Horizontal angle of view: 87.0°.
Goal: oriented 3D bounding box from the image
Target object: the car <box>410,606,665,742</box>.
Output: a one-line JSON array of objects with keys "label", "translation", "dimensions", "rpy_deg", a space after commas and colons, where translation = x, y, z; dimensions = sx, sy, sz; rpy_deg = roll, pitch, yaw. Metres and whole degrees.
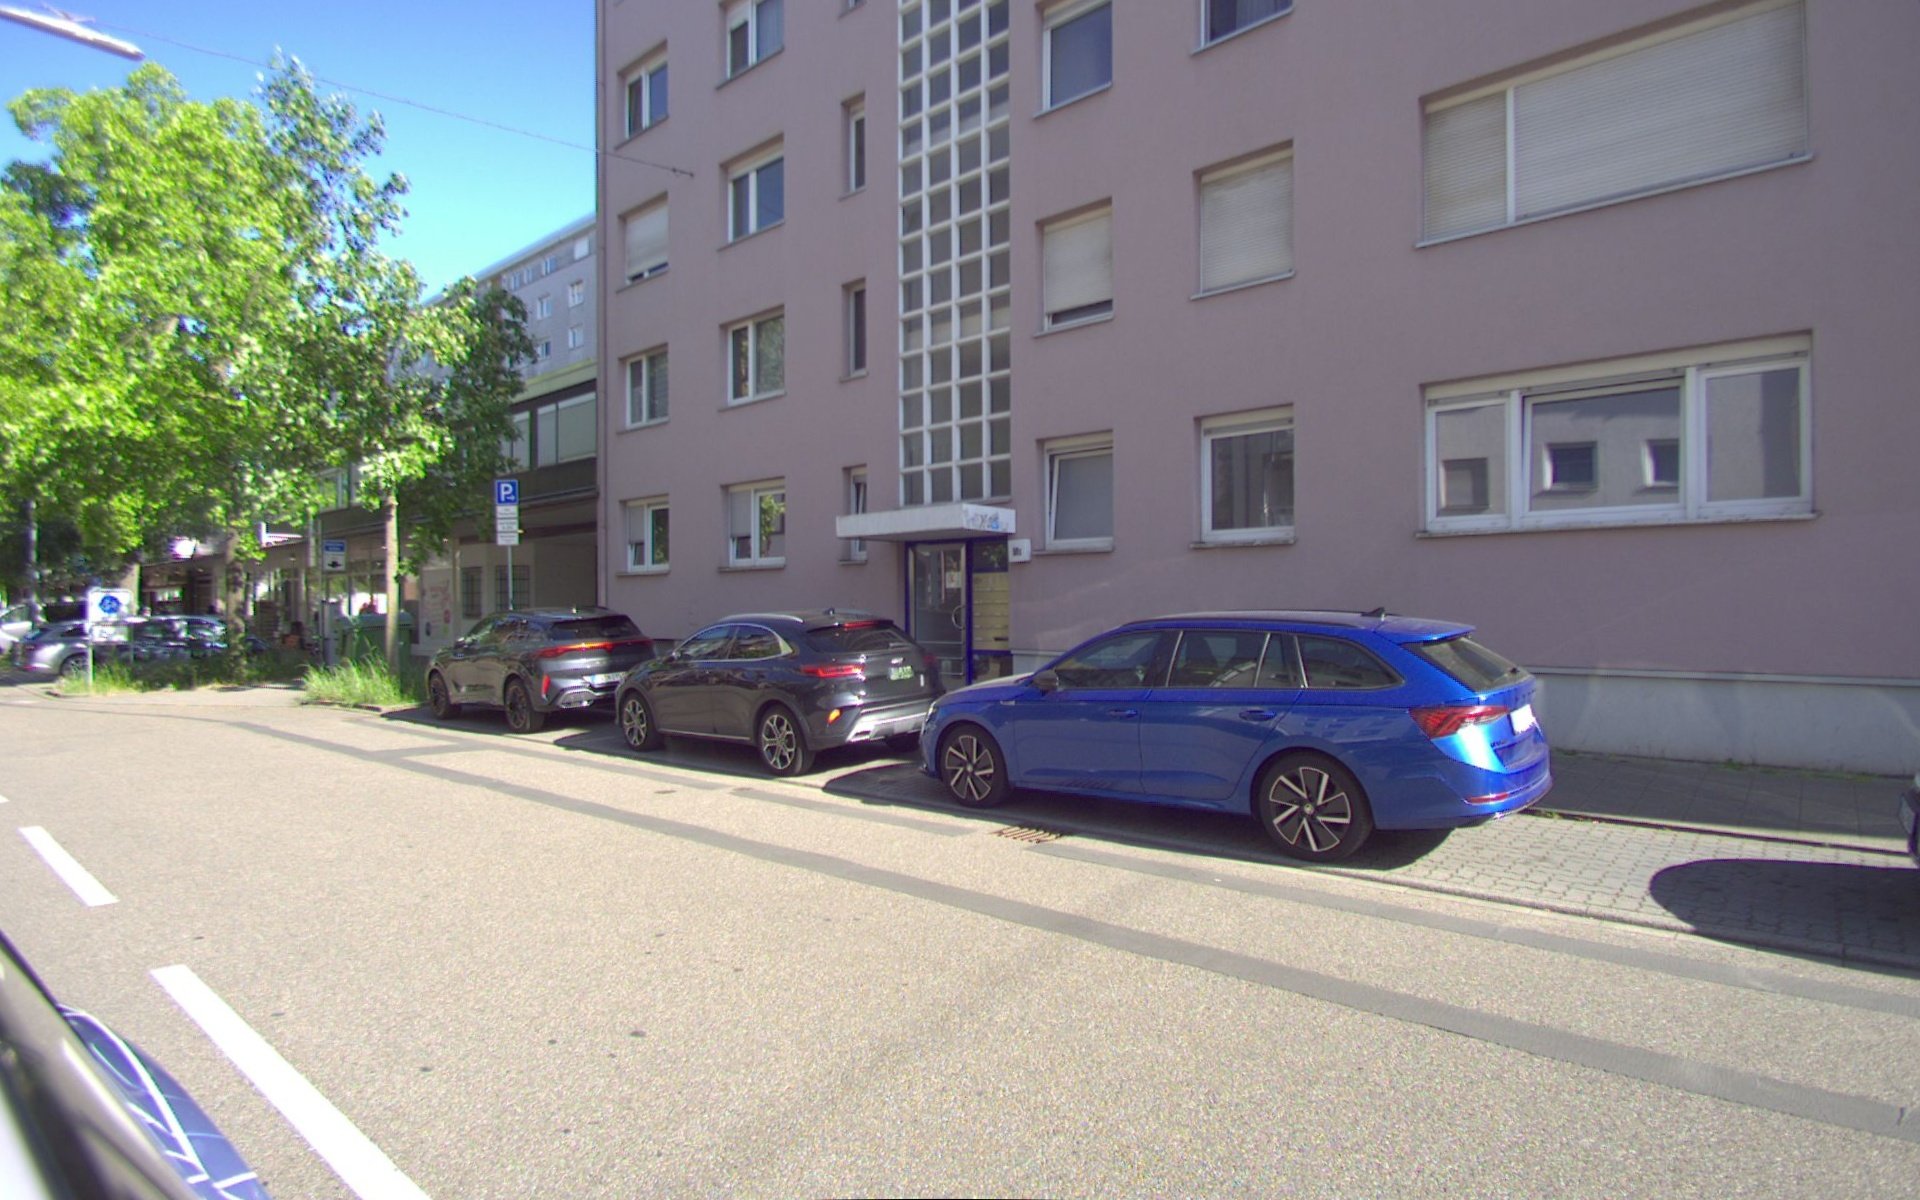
[{"label": "car", "translation": [-6.074, 0.933, 14.313], "dimensions": [4.157, 1.588, 1.704], "rpy_deg": [-1, 1, 43]}]

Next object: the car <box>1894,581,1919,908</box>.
[{"label": "car", "translation": [6.369, 0.643, 3.264], "dimensions": [4.797, 1.514, 1.805], "rpy_deg": [-1, 1, 40]}]

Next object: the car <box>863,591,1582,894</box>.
[{"label": "car", "translation": [1.636, 0.771, 7.459], "dimensions": [4.797, 1.514, 1.805], "rpy_deg": [-1, 1, 40]}]

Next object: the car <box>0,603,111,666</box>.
[{"label": "car", "translation": [-31.632, 1.151, 34.583], "dimensions": [1.913, 2.058, 3.824], "rpy_deg": [-1, -1, 43]}]

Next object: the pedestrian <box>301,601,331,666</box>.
[{"label": "pedestrian", "translation": [-18.390, 0.946, 28.911], "dimensions": [0.502, 1.820, 0.615], "rpy_deg": [-2, -1, 42]}]

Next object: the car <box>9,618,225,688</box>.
[{"label": "car", "translation": [-20.898, 1.248, 25.177], "dimensions": [1.913, 1.564, 3.943], "rpy_deg": [-1, -1, 43]}]

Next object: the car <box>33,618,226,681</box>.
[{"label": "car", "translation": [-22.885, 1.319, 27.987], "dimensions": [1.913, 1.564, 3.943], "rpy_deg": [-1, -1, 43]}]

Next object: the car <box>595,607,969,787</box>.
[{"label": "car", "translation": [-2.032, 0.873, 10.747], "dimensions": [4.157, 1.478, 1.704], "rpy_deg": [-1, 1, 43]}]
